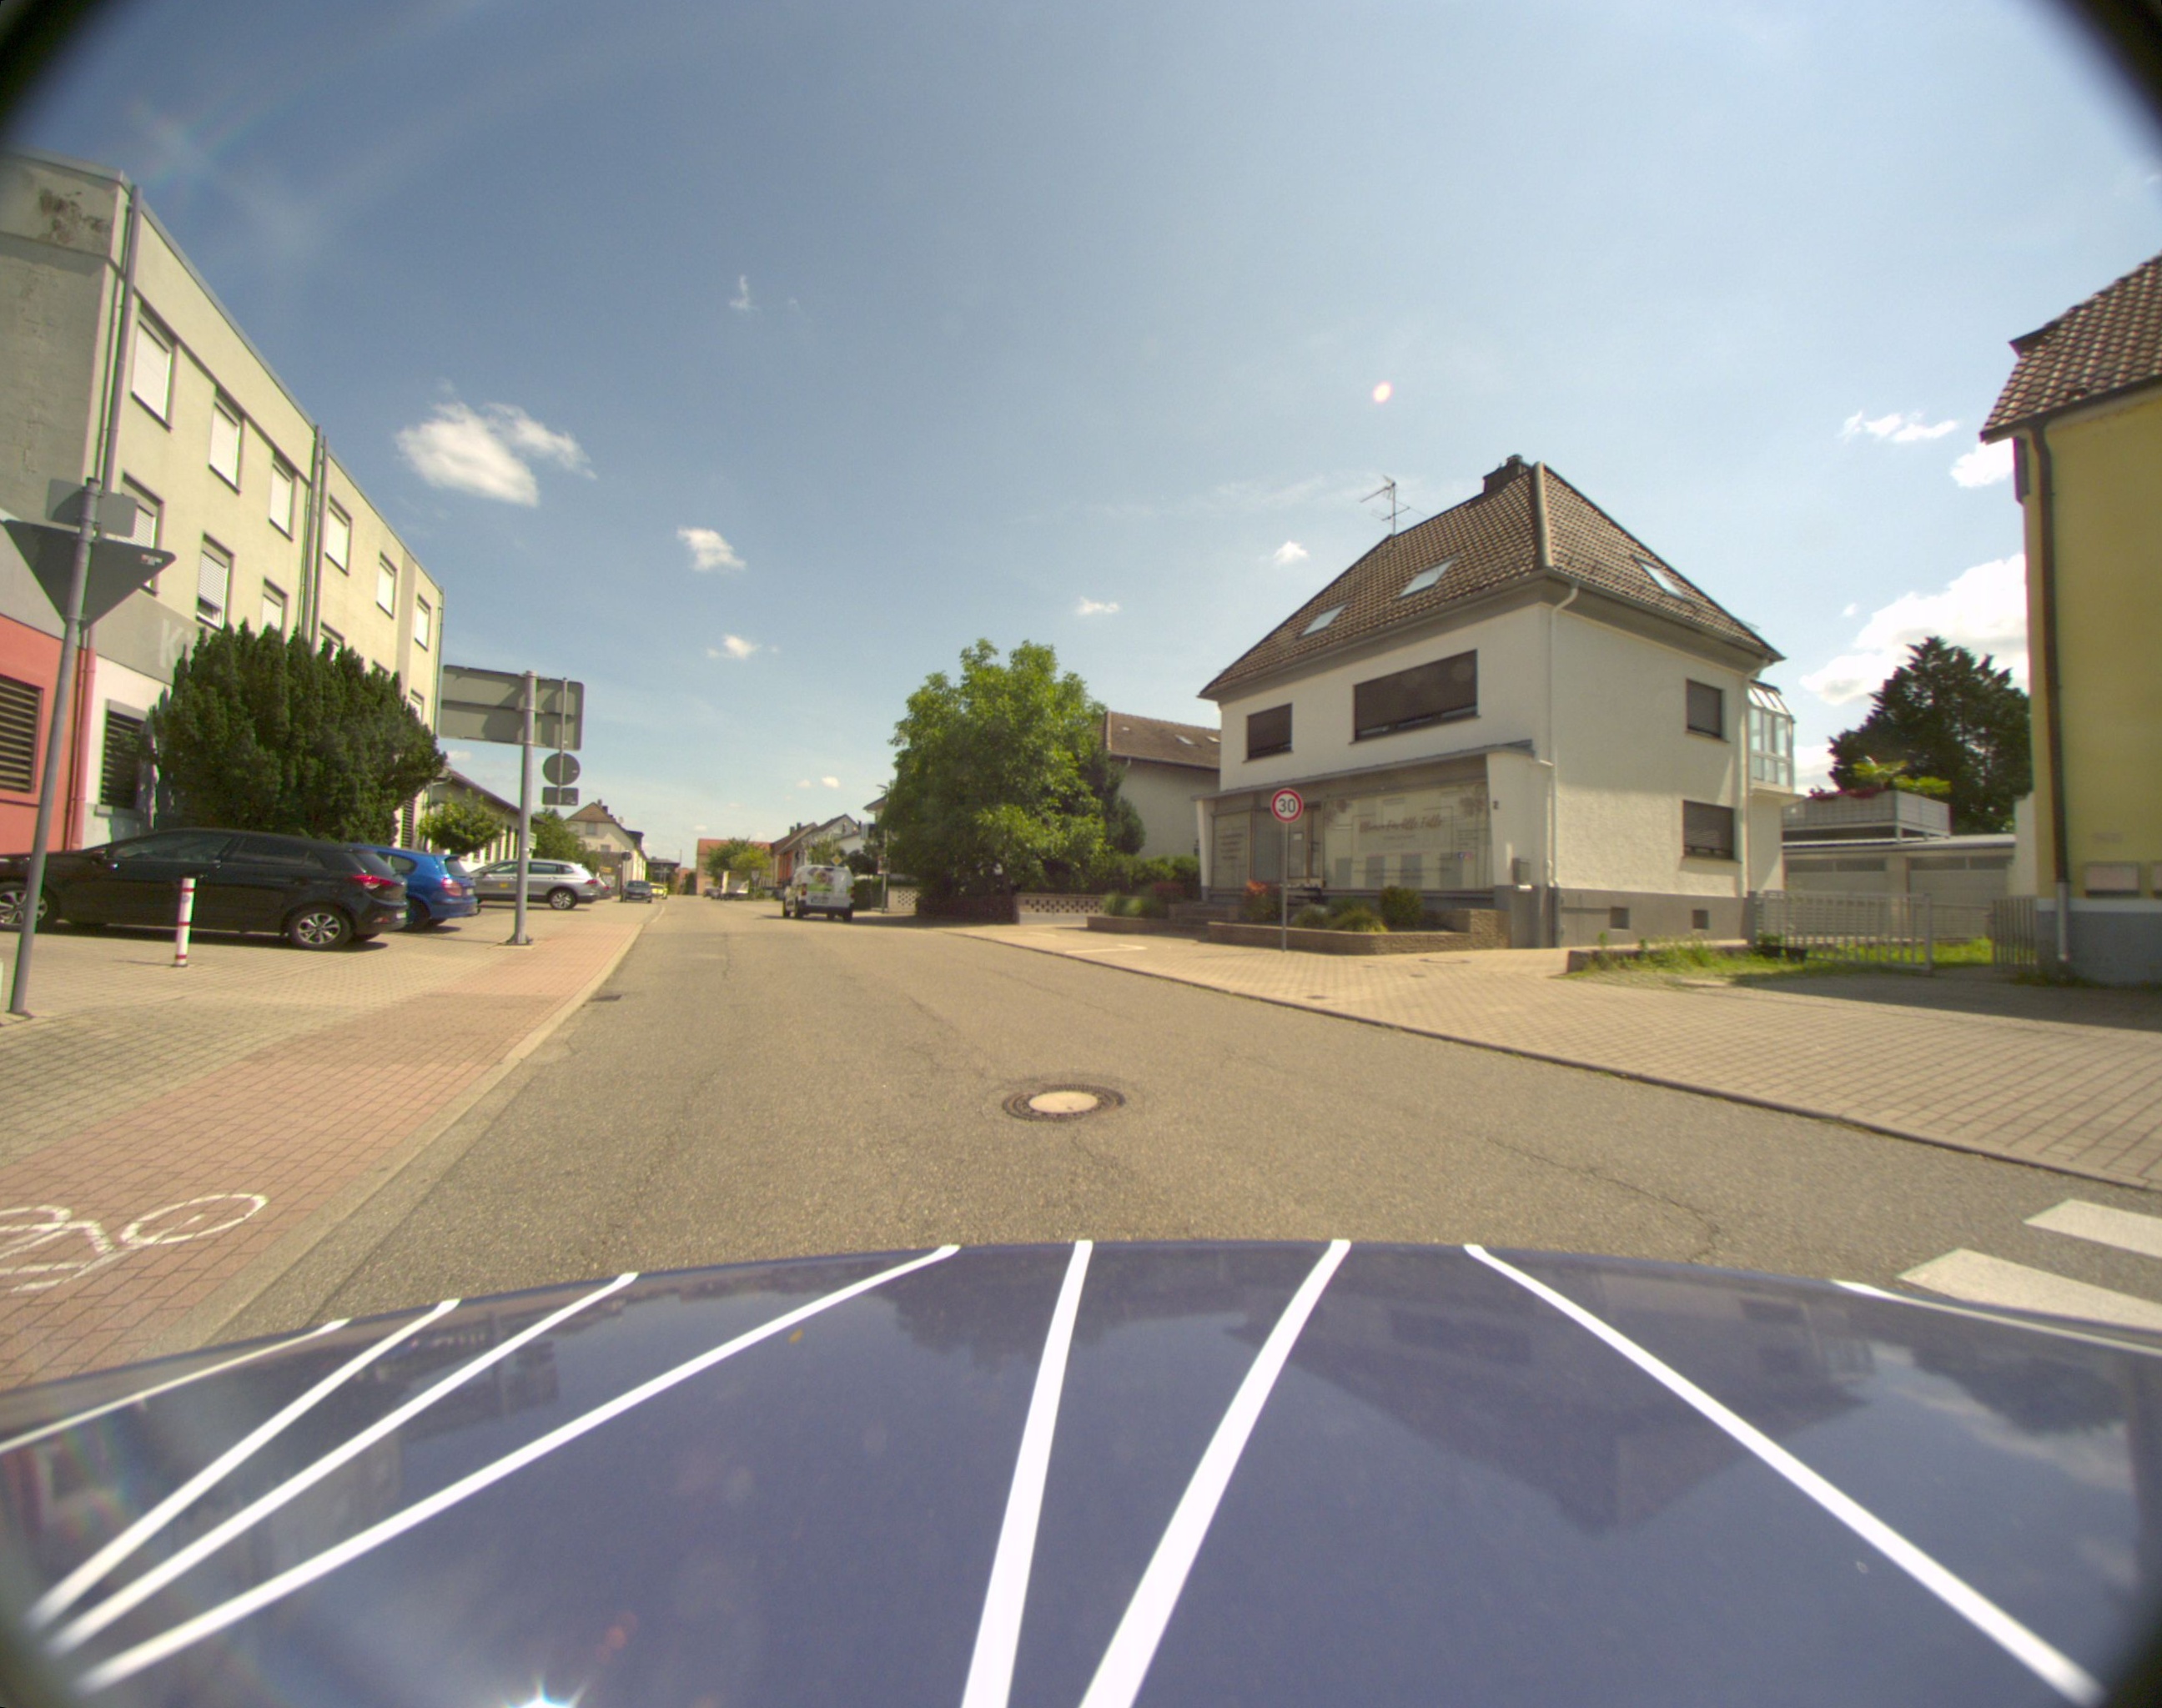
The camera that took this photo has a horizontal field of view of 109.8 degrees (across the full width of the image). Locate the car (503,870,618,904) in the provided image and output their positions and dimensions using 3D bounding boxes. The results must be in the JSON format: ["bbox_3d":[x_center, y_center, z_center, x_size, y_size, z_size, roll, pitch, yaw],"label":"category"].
[{"bbox_3d":[-26.291,1.687,38.581,4.550,1.444,1.914,5,-4,-28],"label":"car"}]

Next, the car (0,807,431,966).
[{"bbox_3d":[-11.509,0.471,10.095,3.917,1.480,1.806,10,-5,-30],"label":"car"}]

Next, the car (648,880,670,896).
[{"bbox_3d":[-42.193,3.422,76.060,1.725,1.388,4.207,7,-6,-28],"label":"car"}]

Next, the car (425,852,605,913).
[{"bbox_3d":[-18.533,0.985,25.193,4.477,1.686,1.919,5,-4,-30],"label":"car"}]

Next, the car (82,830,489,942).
[{"bbox_3d":[-13.070,0.581,12.955,4.345,1.430,1.775,7,-3,-29],"label":"car"}]

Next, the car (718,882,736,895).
[{"bbox_3d":[-44.743,4.318,95.988,1.725,1.490,4.207,6,-5,-29],"label":"car"}]

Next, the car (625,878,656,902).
[{"bbox_3d":[-28.724,2.335,49.600,1.636,1.479,4.131,4,-4,-29],"label":"car"}]

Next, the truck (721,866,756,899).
[{"bbox_3d":[-37.772,3.174,83.772,2.451,3.225,7.022,7,-5,-30],"label":"truck"}]

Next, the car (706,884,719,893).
[{"bbox_3d":[-62.211,5.814,128.289,1.725,1.490,4.207,6,-5,-29],"label":"car"}]

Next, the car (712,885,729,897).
[{"bbox_3d":[-48.082,4.894,101.377,1.725,1.490,4.207,6,-5,-29],"label":"car"}]

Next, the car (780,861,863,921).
[{"bbox_3d":[-9.120,1.306,26.427,1.821,1.842,4.550,5,-5,-29],"label":"car"}]
